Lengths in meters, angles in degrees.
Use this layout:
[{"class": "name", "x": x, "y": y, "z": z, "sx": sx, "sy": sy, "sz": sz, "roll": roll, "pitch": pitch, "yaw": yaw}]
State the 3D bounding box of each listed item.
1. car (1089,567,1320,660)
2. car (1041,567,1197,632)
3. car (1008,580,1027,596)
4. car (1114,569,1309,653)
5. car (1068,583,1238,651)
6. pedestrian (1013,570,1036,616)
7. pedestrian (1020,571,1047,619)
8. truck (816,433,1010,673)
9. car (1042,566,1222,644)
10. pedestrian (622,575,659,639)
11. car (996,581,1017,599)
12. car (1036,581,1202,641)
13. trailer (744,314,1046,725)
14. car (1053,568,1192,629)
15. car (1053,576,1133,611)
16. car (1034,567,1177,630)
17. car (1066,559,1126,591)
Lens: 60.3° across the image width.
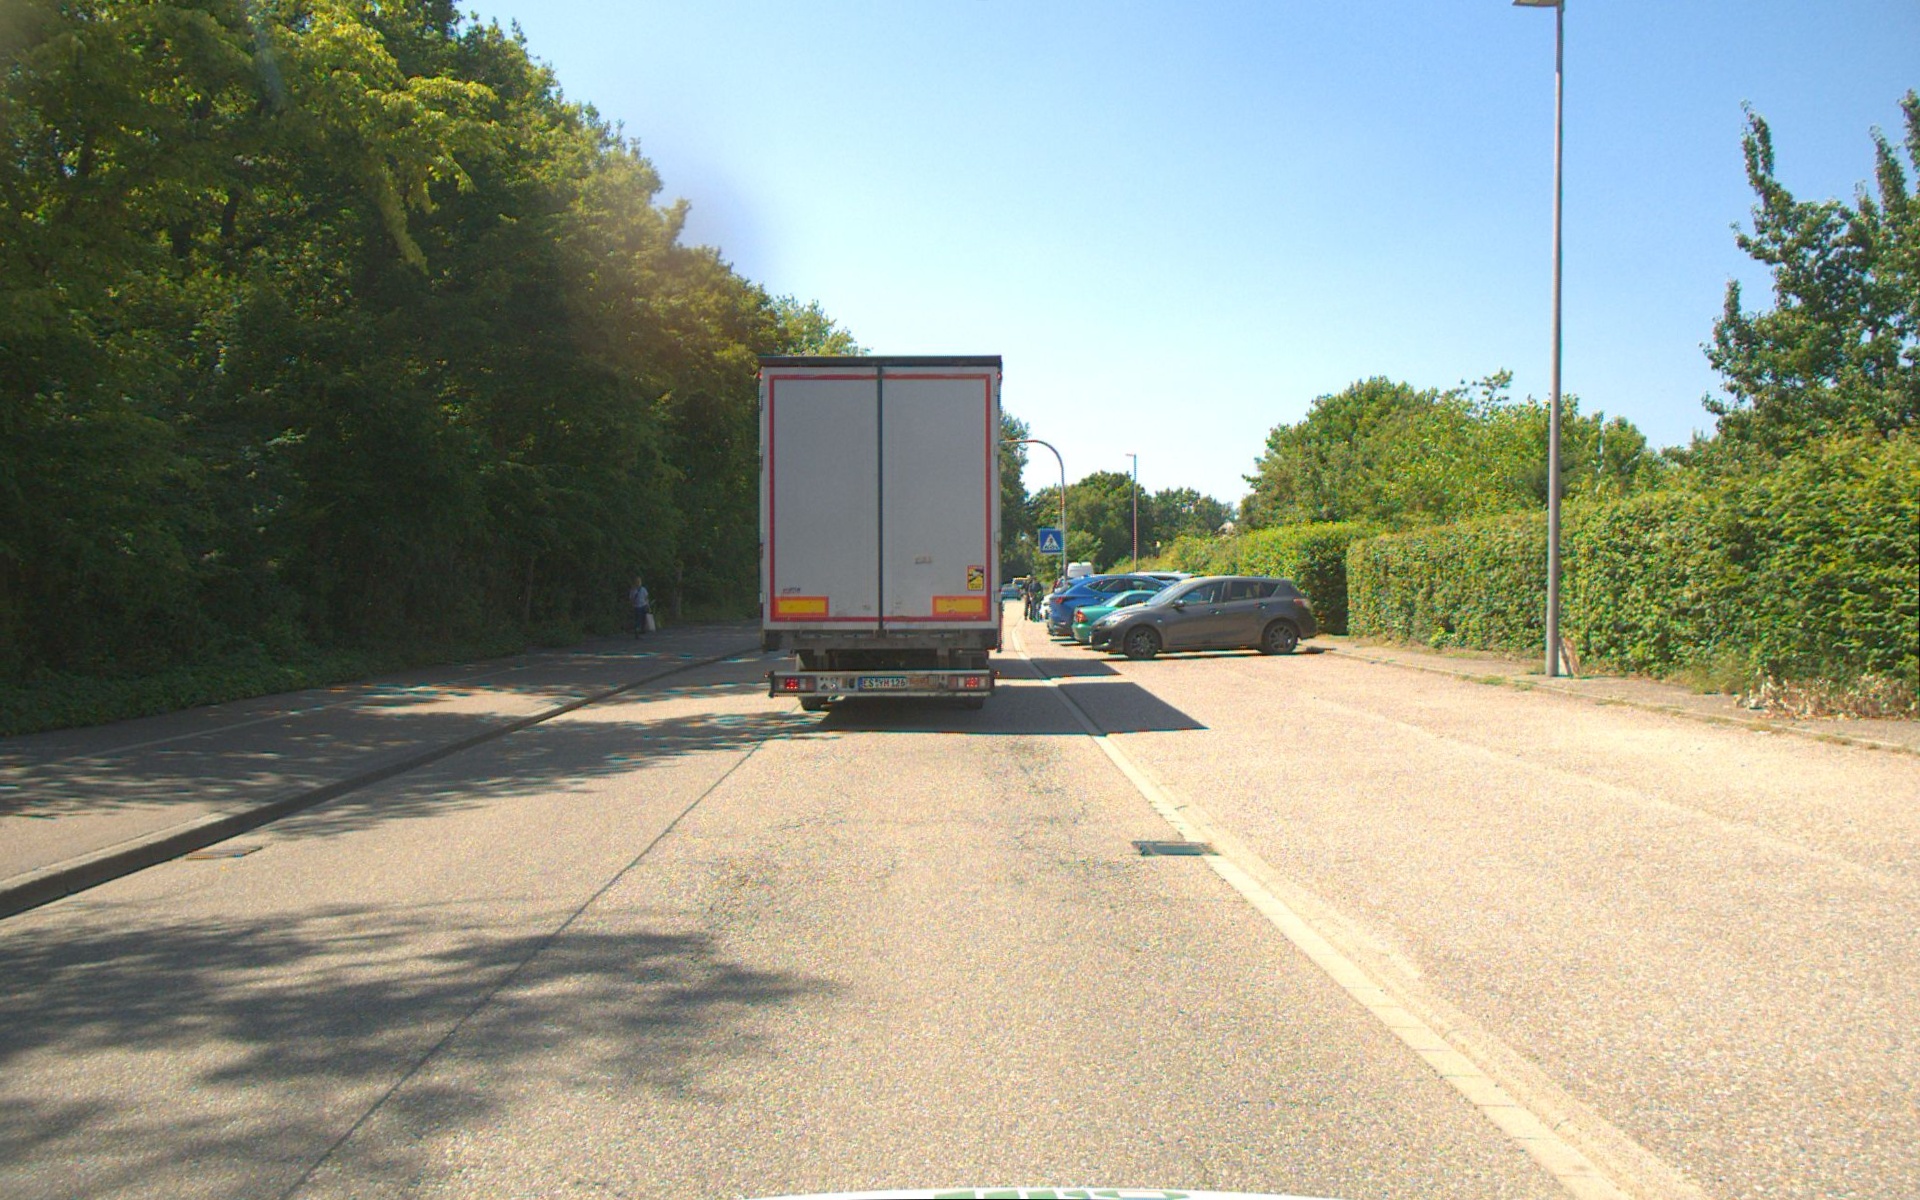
[{"class": "car", "x": 4.599, "y": 0.242, "z": 31.546, "sx": 4.079, "sy": 1.521, "sz": 1.882, "roll": -3, "pitch": 0, "yaw": -1}, {"class": "car", "x": 4.432, "y": 0.009, "z": 46.533, "sx": 4.150, "sy": 1.683, "sz": 1.899, "roll": -1, "pitch": -1, "yaw": -1}, {"class": "car", "x": 5.451, "y": -1.159, "z": 157.090, "sx": 1.586, "sy": 1.449, "sz": 3.667, "roll": -1, "pitch": 1, "yaw": -2}, {"class": "car", "x": 5.192, "y": 0.219, "z": 34.444, "sx": 3.724, "sy": 1.480, "sz": 1.774, "roll": -3, "pitch": 0, "yaw": -1}, {"class": "car", "x": 4.348, "y": 0.375, "z": 37.716, "sx": 3.658, "sy": 1.290, "sz": 1.628, "roll": -3, "pitch": 0, "yaw": 1}, {"class": "pedestrian", "x": 2.712, "y": -0.287, "z": 69.250, "sx": 0.804, "sy": 1.866, "sz": 0.793, "roll": -4, "pitch": 0, "yaw": 6}, {"class": "pedestrian", "x": 2.964, "y": -0.207, "z": 66.566, "sx": 0.888, "sy": 1.829, "sz": 0.936, "roll": -4, "pitch": 0, "yaw": 6}, {"class": "truck", "x": -0.768, "y": -0.781, "z": 29.444, "sx": 3.050, "sy": 3.790, "sz": 6.413, "roll": 0, "pitch": 1, "yaw": -1}, {"class": "car", "x": 4.159, "y": 0.107, "z": 40.498, "sx": 4.152, "sy": 1.662, "sz": 1.823, "roll": -3, "pitch": 1, "yaw": -1}, {"class": "pedestrian", "x": -8.333, "y": 0.170, "z": 43.107, "sx": 0.811, "sy": 1.651, "sz": 0.783, "roll": 1, "pitch": 1, "yaw": -2}, {"class": "car", "x": 4.035, "y": -0.897, "z": 143.344, "sx": 1.744, "sy": 1.512, "sz": 4.001, "roll": 0, "pitch": 1, "yaw": 1}, {"class": "car", "x": 4.144, "y": 0.269, "z": 43.381, "sx": 4.051, "sy": 1.464, "sz": 1.812, "roll": -1, "pitch": 1, "yaw": -6}, {"class": "trailer", "x": -0.710, "y": -0.891, "z": 22.623, "sx": 3.049, "sy": 4.174, "sz": 11.535, "roll": 0, "pitch": 1, "yaw": -1}, {"class": "car", "x": 4.936, "y": -0.065, "z": 50.617, "sx": 4.040, "sy": 1.686, "sz": 1.887, "roll": -2, "pitch": 0, "yaw": 1}, {"class": "car", "x": 6.792, "y": -0.348, "z": 84.775, "sx": 3.877, "sy": 1.647, "sz": 1.813, "roll": -2, "pitch": 1, "yaw": -3}, {"class": "car", "x": 4.639, "y": -0.043, "z": 53.160, "sx": 4.316, "sy": 1.727, "sz": 1.876, "roll": -3, "pitch": 0, "yaw": -2}, {"class": "car", "x": 9.157, "y": -1.689, "z": 111.379, "sx": 3.874, "sy": 1.829, "sz": 1.814, "roll": -4, "pitch": -2, "yaw": 3}]
